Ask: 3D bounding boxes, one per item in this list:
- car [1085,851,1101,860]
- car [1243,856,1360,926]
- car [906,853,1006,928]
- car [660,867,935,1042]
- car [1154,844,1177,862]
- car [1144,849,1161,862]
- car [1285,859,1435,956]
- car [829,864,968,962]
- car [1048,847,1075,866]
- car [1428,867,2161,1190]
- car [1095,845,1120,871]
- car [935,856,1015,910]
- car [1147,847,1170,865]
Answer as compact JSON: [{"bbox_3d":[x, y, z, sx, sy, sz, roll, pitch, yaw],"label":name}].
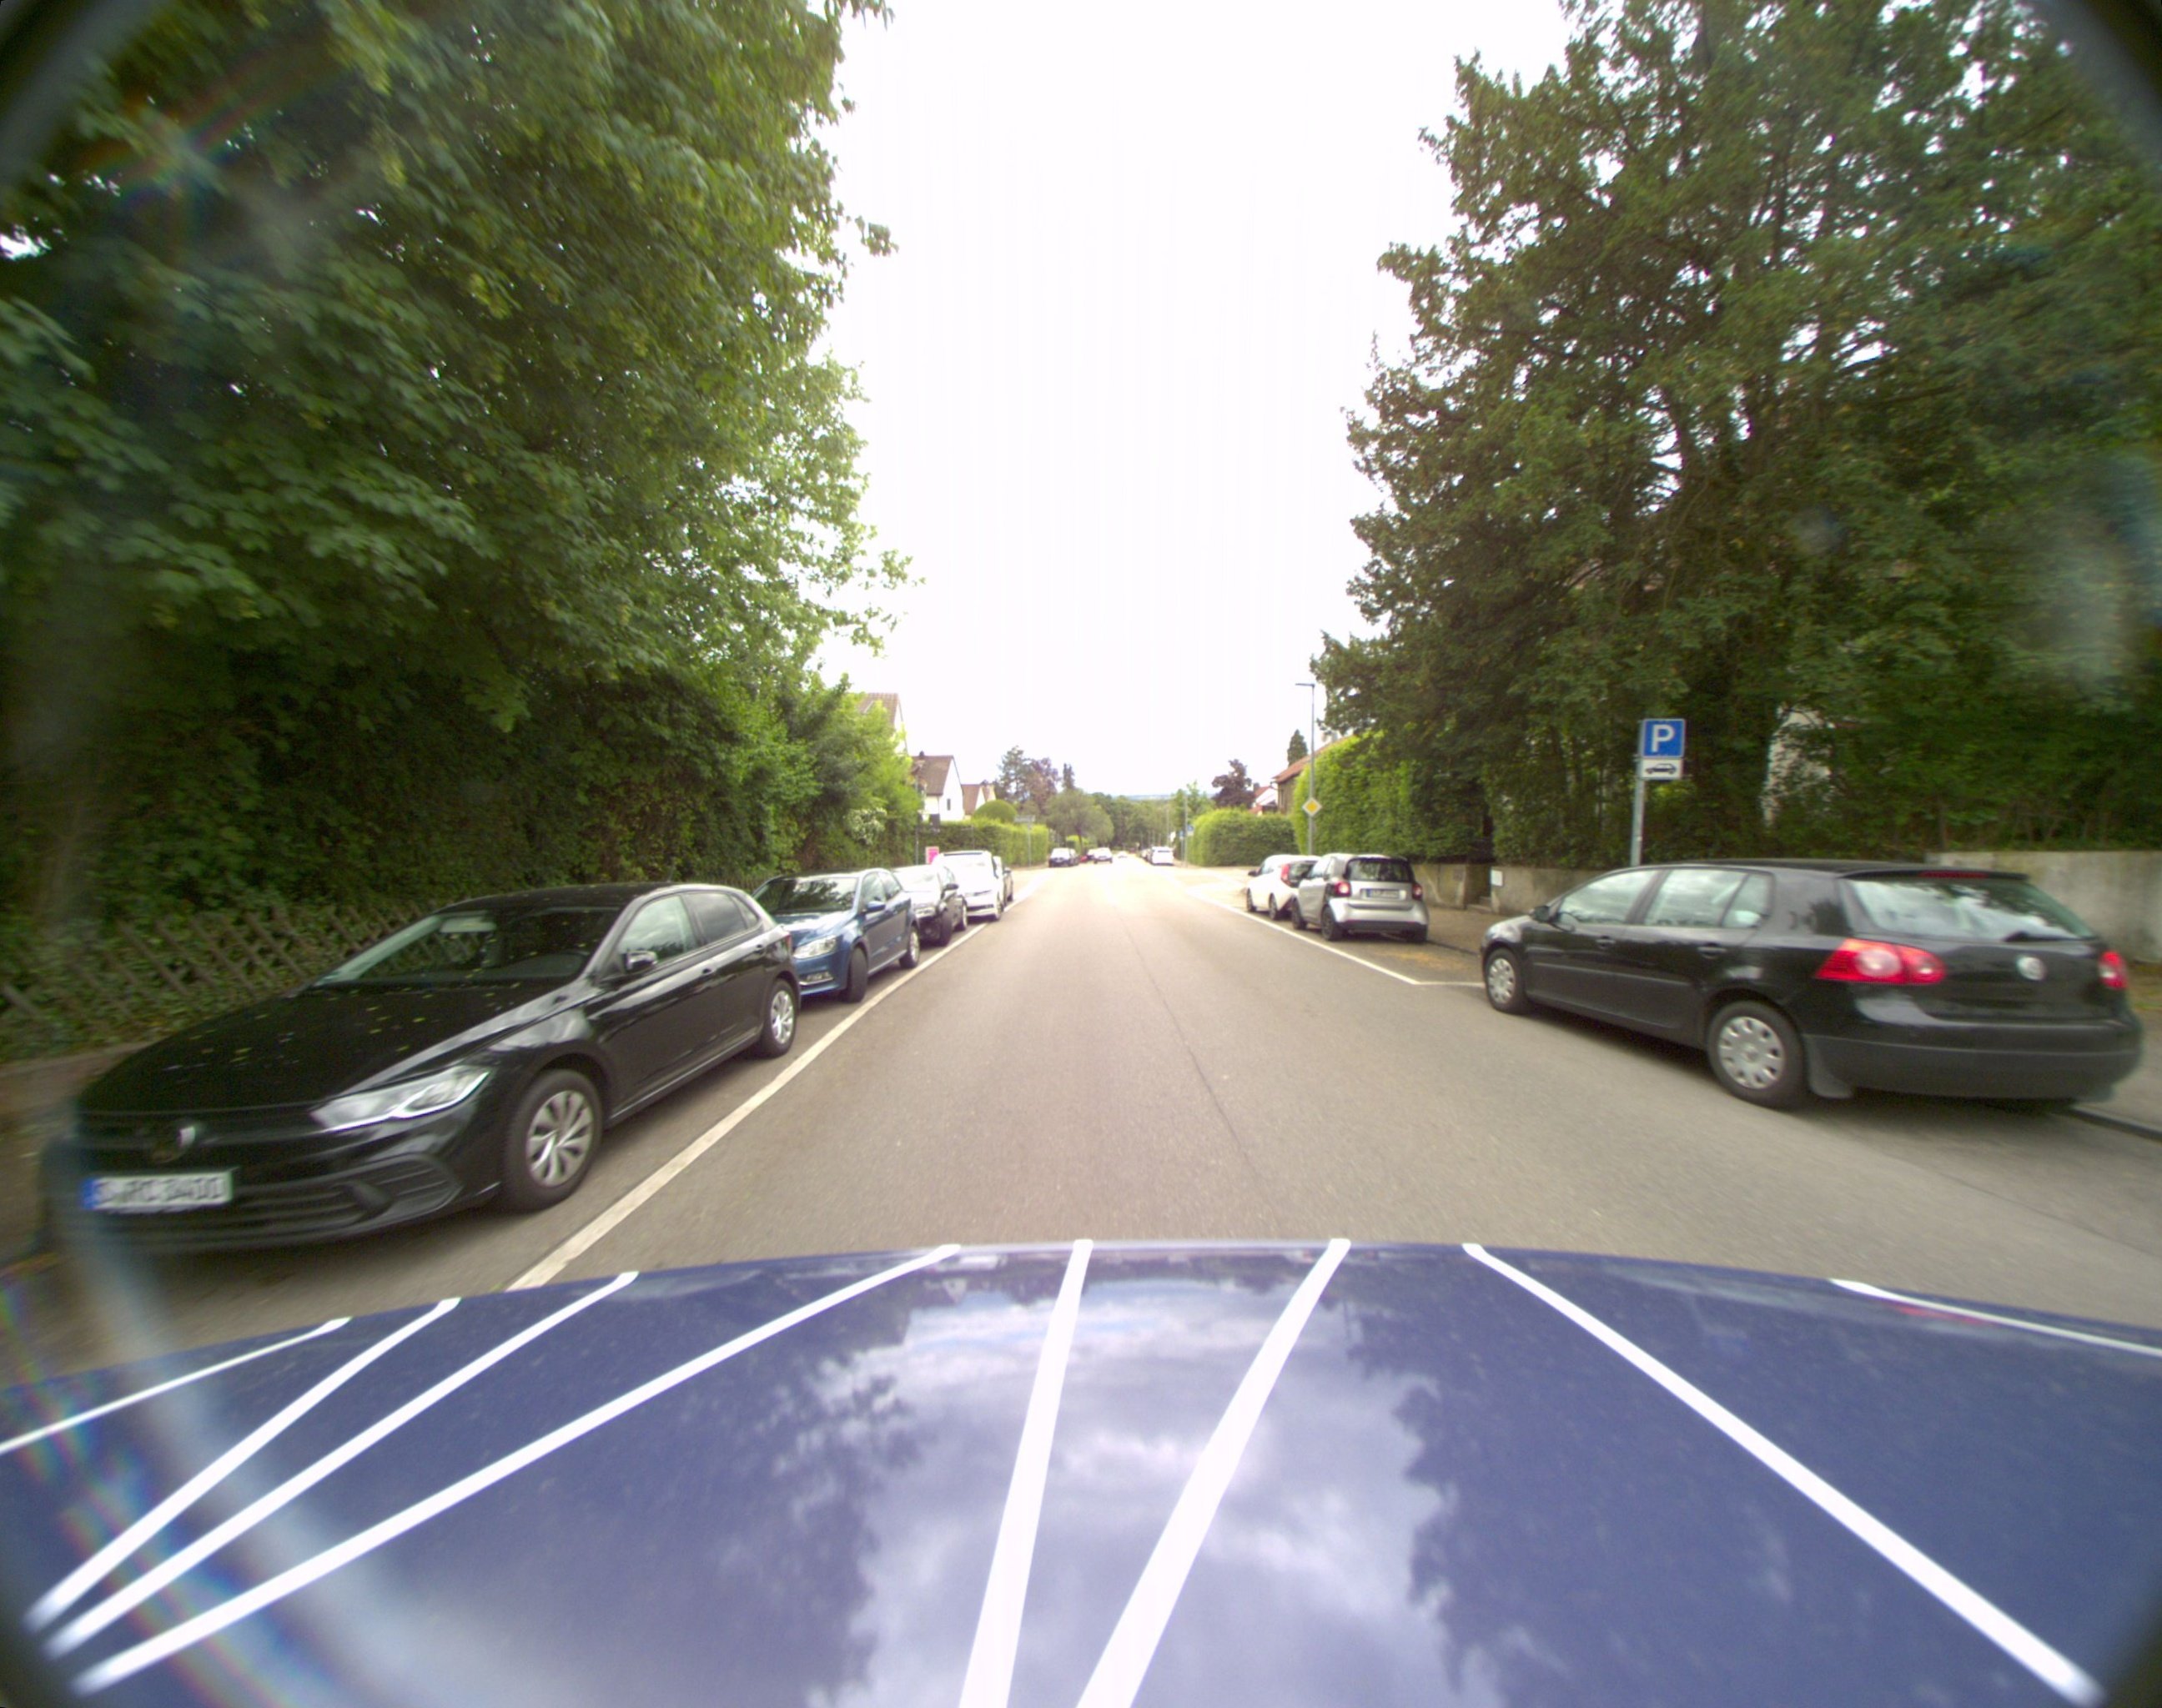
[{"bbox_3d":[1.696,0.170,108.127,1.998,1.221,4.001,0,1,4],"label":"car"},{"bbox_3d":[5.053,0.788,17.895,1.749,1.439,3.513,1,0,1],"label":"car"},{"bbox_3d":[-2.960,0.794,18.973,2.006,1.599,4.756,0,0,-4],"label":"car"},{"bbox_3d":[-3.103,0.998,9.331,1.702,1.499,4.160,-2,1,1],"label":"car"},{"bbox_3d":[6.938,-0.085,62.578,1.693,1.411,3.580,2,1,4],"label":"car"},{"bbox_3d":[8.694,0.165,93.150,1.944,1.540,4.006,0,0,4],"label":"car"},{"bbox_3d":[4.967,0.881,13.931,1.628,1.510,2.974,0,1,0],"label":"car"},{"bbox_3d":[-3.228,0.973,14.307,1.815,1.444,4.376,0,1,-4],"label":"car"},{"bbox_3d":[-1.544,0.196,61.637,1.794,1.480,4.380,0,0,4],"label":"car"},{"bbox_3d":[4.784,0.891,6.044,1.855,1.461,4.682,0,0,-1],"label":"car"},{"bbox_3d":[2.631,0.418,73.595,1.998,2.000,4.004,-8,-4,4],"label":"car"},{"bbox_3d":[-3.224,0.829,23.920,1.942,1.483,4.455,0,0,-1],"label":"car"},{"bbox_3d":[6.905,0.150,67.664,1.786,1.481,4.739,3,1,4],"label":"car"}]
